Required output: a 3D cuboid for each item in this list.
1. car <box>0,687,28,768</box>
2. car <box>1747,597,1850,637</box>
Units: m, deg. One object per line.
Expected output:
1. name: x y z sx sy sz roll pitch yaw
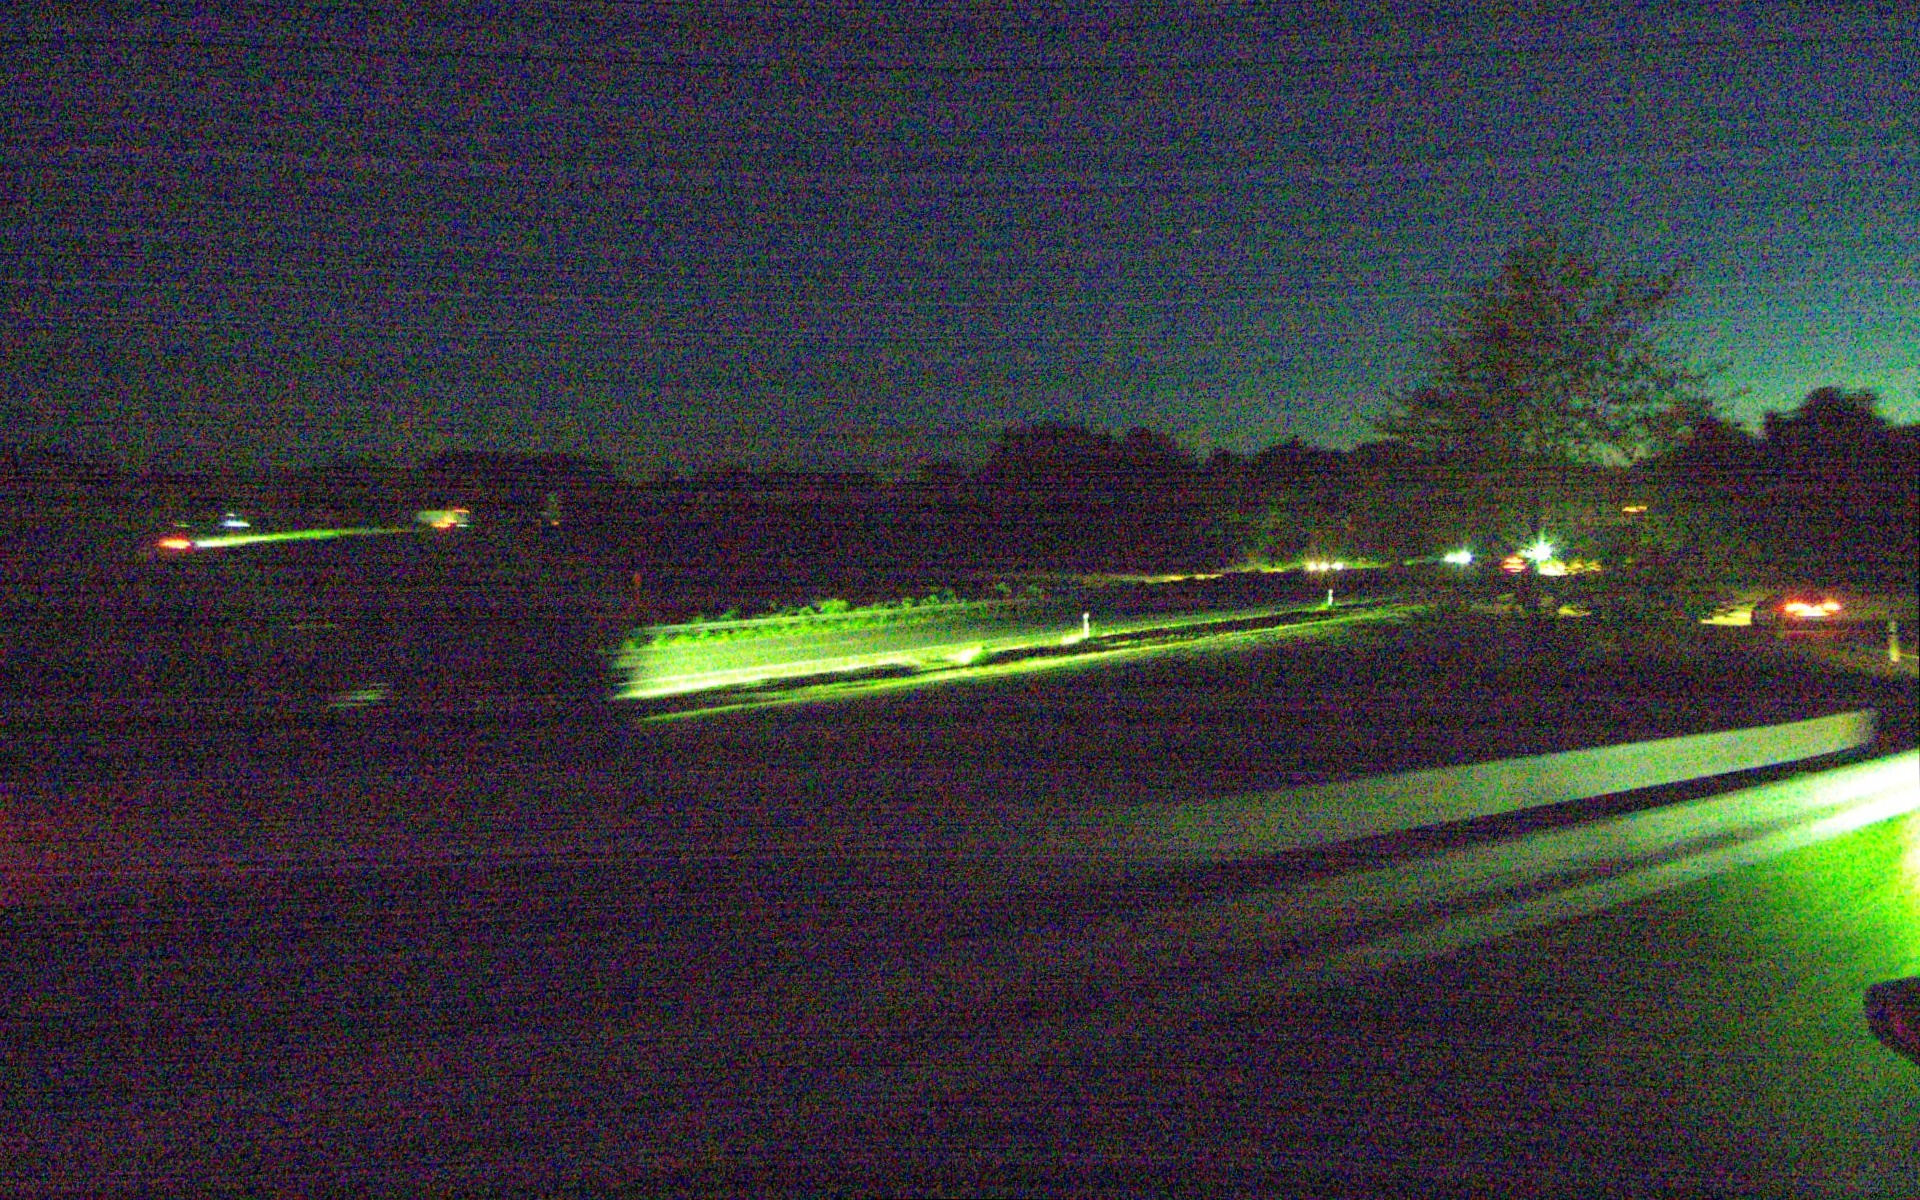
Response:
1. car: -24.207 3.108 22.640 4.610 1.630 1.921 -3 5 -44
2. car: 35.659 0.694 42.874 1.919 1.558 4.241 -1 1 18
